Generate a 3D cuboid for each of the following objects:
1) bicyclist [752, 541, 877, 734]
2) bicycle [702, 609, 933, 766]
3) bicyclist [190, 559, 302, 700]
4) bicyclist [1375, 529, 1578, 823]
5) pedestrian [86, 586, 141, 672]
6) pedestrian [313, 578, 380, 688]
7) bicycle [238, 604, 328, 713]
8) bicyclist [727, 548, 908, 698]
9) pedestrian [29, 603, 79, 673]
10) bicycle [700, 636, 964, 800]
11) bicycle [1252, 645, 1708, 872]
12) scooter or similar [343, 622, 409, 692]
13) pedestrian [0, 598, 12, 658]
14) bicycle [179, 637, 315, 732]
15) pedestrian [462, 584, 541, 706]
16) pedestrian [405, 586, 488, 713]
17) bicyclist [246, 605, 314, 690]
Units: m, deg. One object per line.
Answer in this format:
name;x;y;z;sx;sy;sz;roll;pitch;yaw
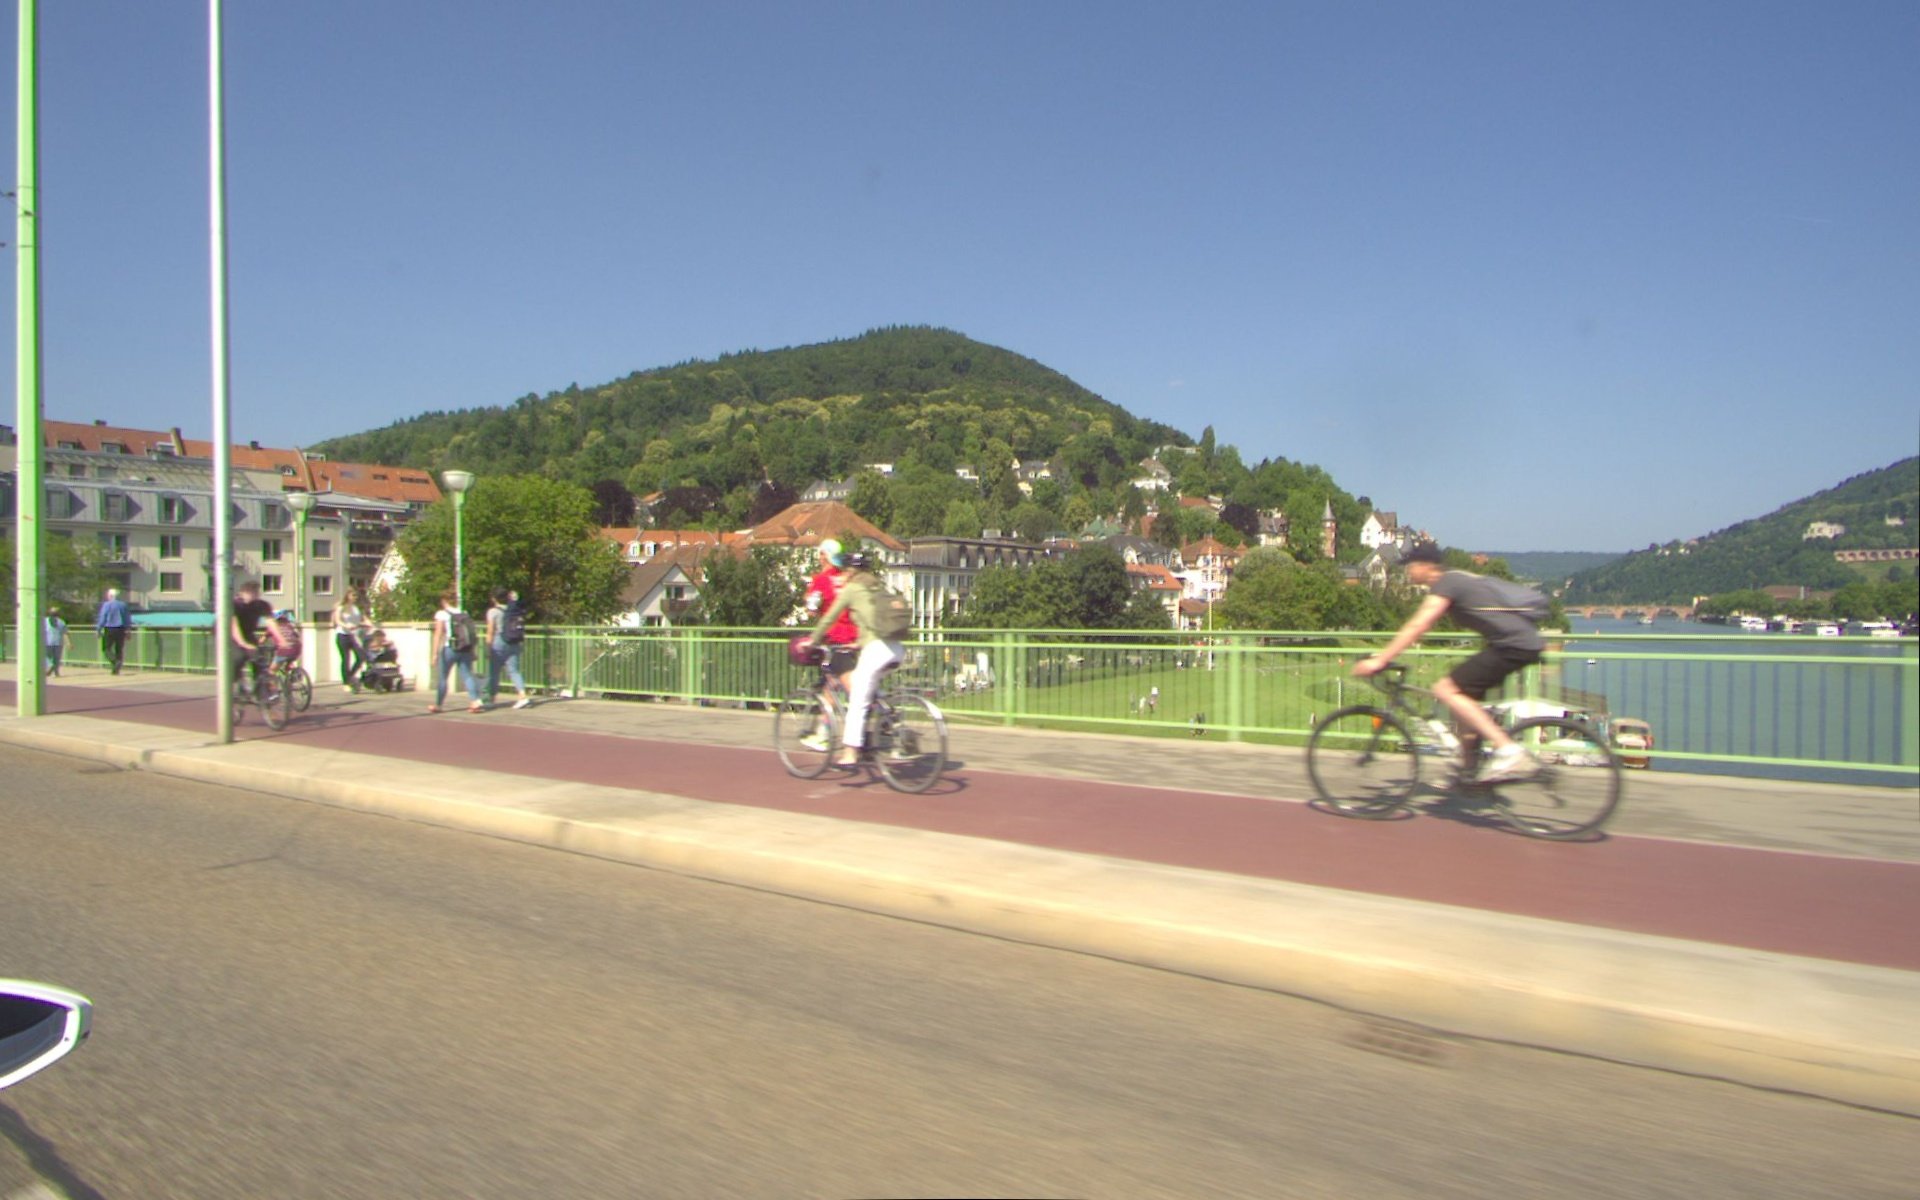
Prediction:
bicyclist;-1.322;0.323;9.119;0.854;1.657;0.734;1;0;30
bicycle;-1.331;0.732;9.133;2.183;1.288;0.617;0;0;31
bicyclist;-8.494;0.337;11.909;1.320;1.588;0.651;0;2;36
bicyclist;2.954;0.397;5.742;0.966;1.520;0.734;1;0;31
pedestrian;-18.521;0.620;21.912;0.835;1.835;0.711;1;1;32
pedestrian;-10.219;0.536;16.683;0.854;1.780;0.641;1;1;30
bicycle;-9.295;0.757;13.714;2.191;1.385;0.531;0;0;42
bicyclist;-1.079;0.161;7.576;1.158;1.044;0.734;0;0;31
pedestrian;-19.685;0.821;21.754;0.835;1.485;0.612;1;1;32
bicycle;-0.995;0.823;7.515;2.020;1.051;0.617;0;0;31
bicycle;2.898;0.826;5.806;2.232;1.051;0.617;0;0;31
scooter or similar;-9.479;0.915;16.260;0.852;1.083;0.587;1;0;30
pedestrian;-27.225;0.775;28.116;0.836;1.673;0.711;1;1;32
bicycle;-8.555;0.966;11.979;2.149;0.995;0.651;-1;1;36
pedestrian;-6.244;0.591;13.637;0.854;1.607;0.598;1;1;30
pedestrian;-6.723;0.624;13.111;0.854;1.607;0.598;1;1;30
bicyclist;-9.329;0.631;13.730;0.842;1.116;0.596;1;0;42
